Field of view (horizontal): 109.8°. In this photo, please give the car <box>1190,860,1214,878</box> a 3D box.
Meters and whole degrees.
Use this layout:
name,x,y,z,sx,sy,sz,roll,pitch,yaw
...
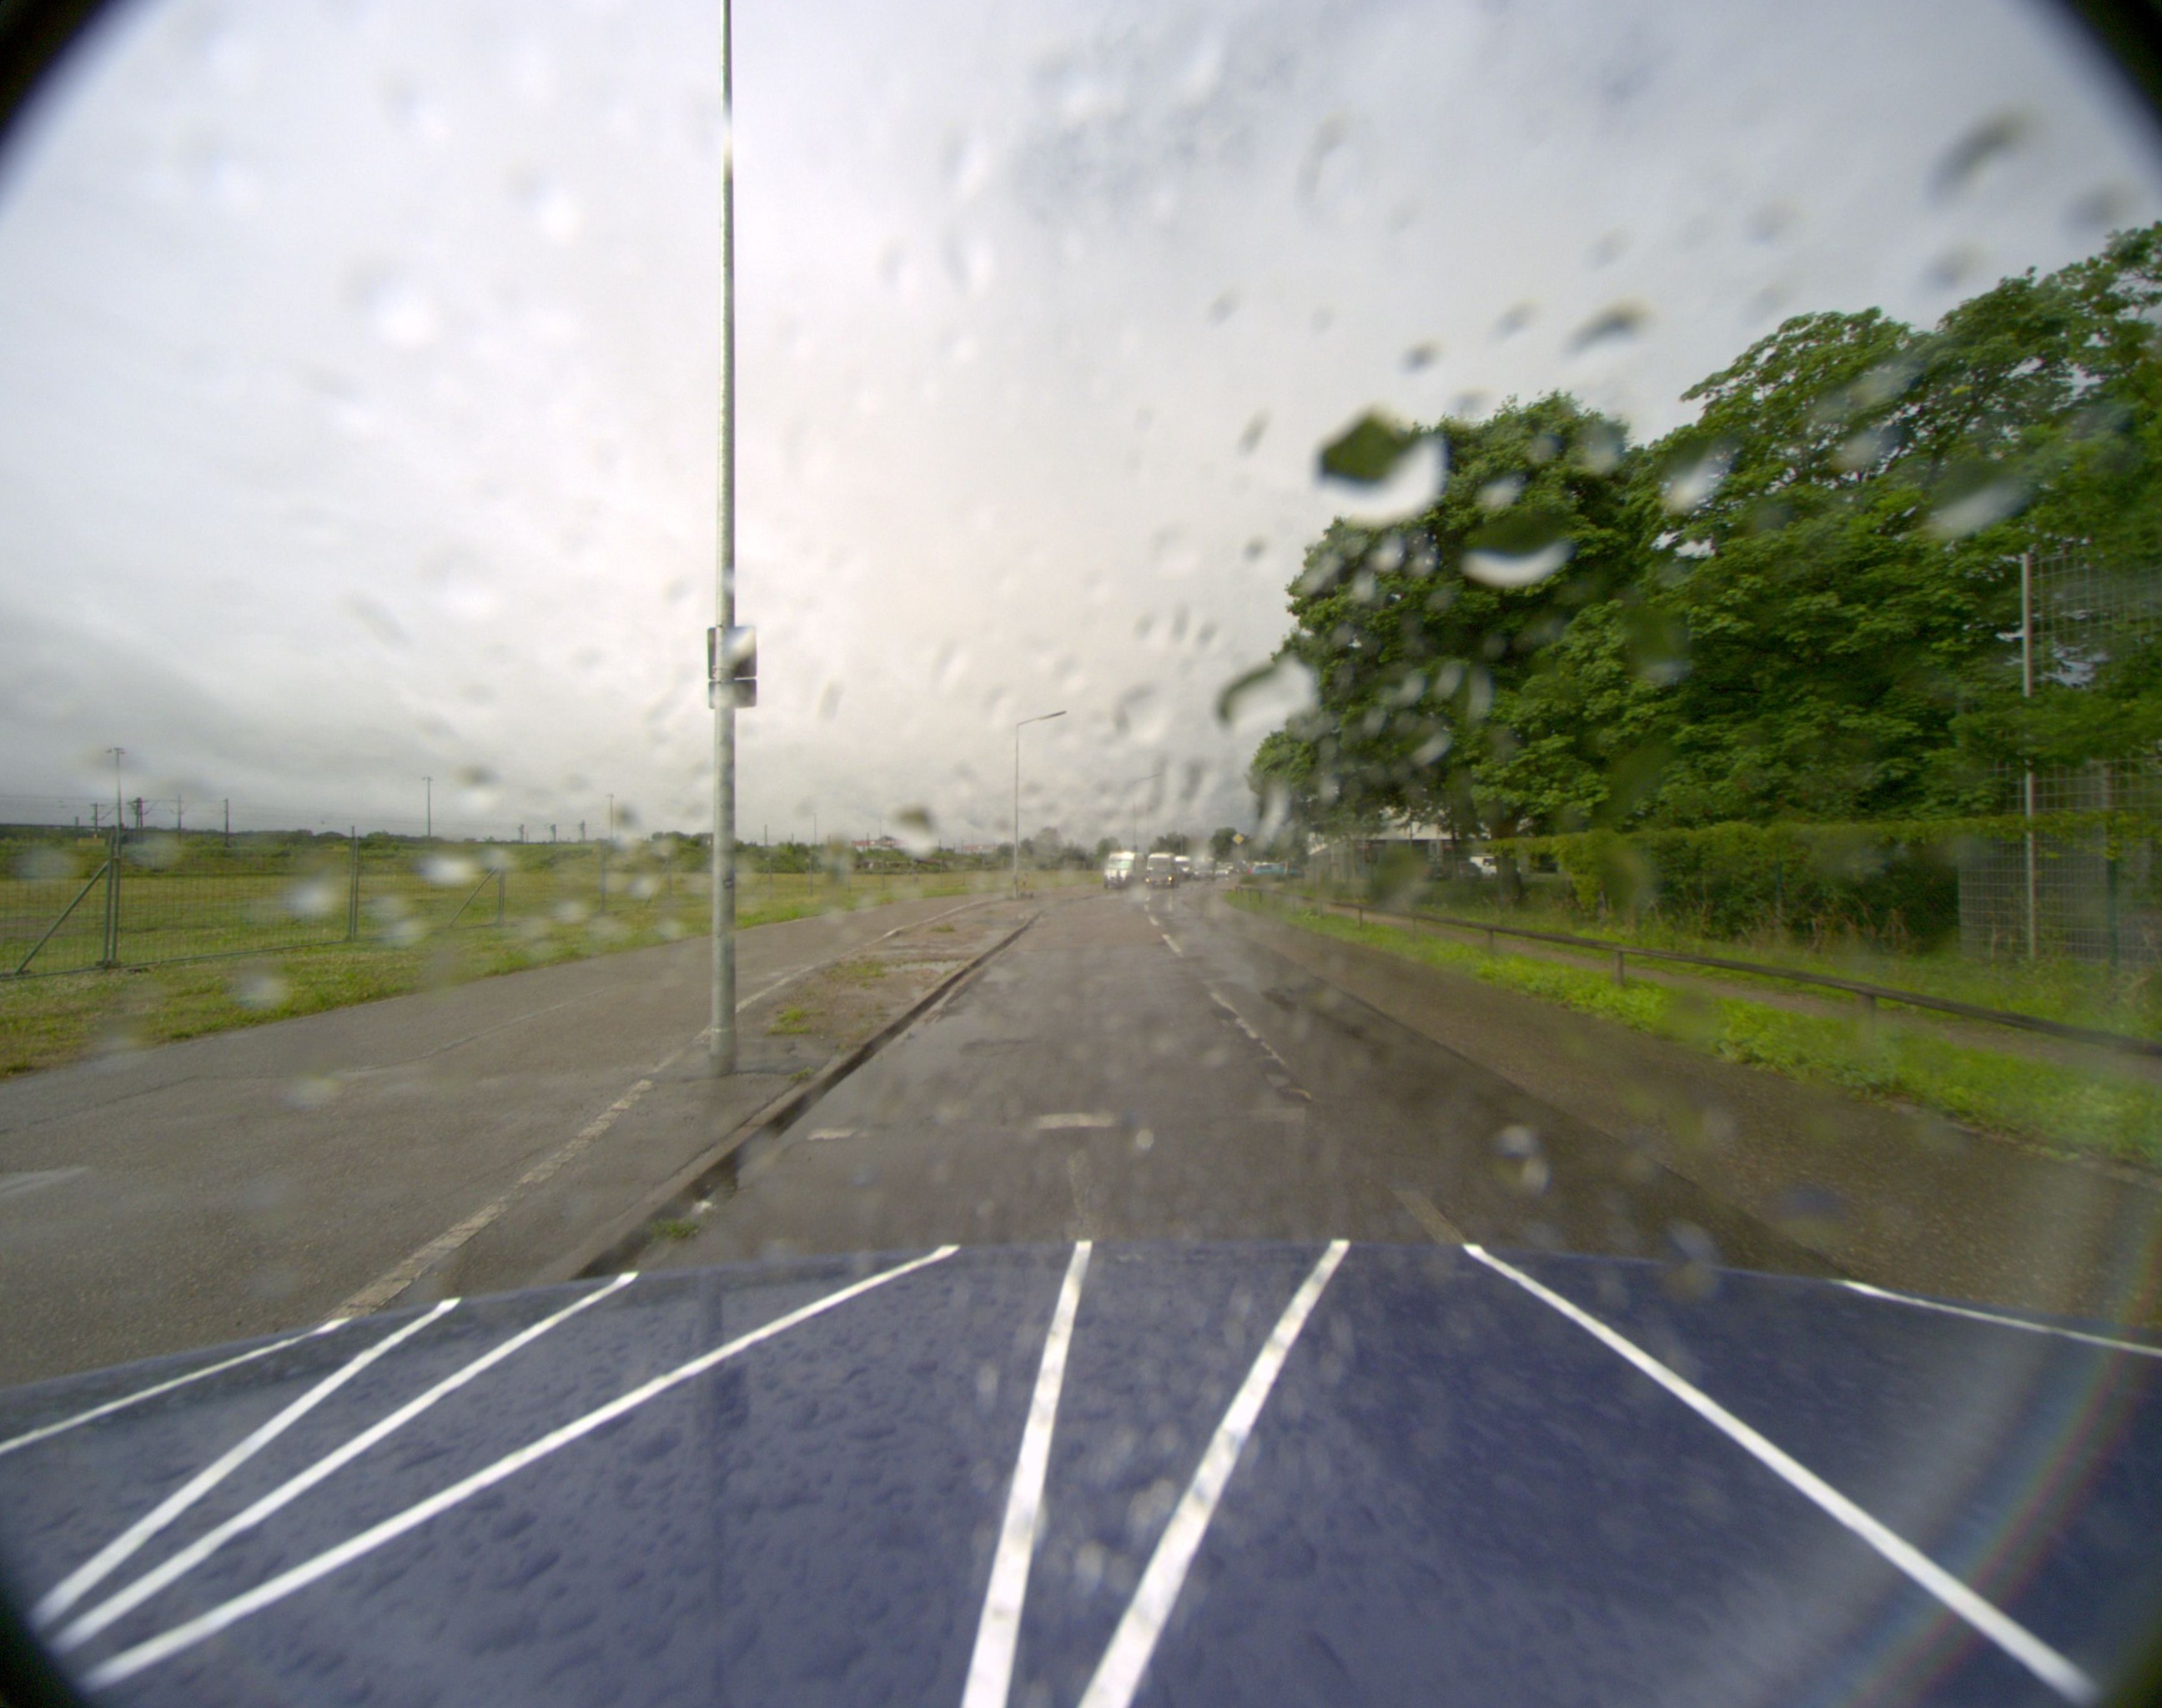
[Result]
name,x,y,z,sx,sy,sz,roll,pitch,yaw
car,12.375,1.527,77.525,2.008,1.695,4.334,-2,-1,15

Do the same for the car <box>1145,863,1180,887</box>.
name,x,y,z,sx,sy,sz,roll,pitch,yaw
car,5.530,1.399,50.847,1.872,1.510,4.362,0,0,12

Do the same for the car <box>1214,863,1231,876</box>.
name,x,y,z,sx,sy,sz,roll,pitch,yaw
car,18.272,2.004,97.969,1.839,1.510,4.362,-1,0,15

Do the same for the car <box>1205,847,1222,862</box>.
name,x,y,z,sx,sy,sz,roll,pitch,yaw
car,19.861,0.089,113.552,1.996,2.228,4.569,-1,0,15

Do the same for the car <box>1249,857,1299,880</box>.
name,x,y,z,sx,sy,sz,roll,pitch,yaw
car,15.935,1.173,62.595,3.815,1.623,1.757,-4,-1,17

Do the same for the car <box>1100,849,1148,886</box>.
name,x,y,z,sx,sy,sz,roll,pitch,yaw
car,3.099,0.896,53.353,2.094,2.458,5.954,1,0,15

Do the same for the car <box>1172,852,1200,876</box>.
name,x,y,z,sx,sy,sz,roll,pitch,yaw
car,11.927,1.115,85.847,2.071,2.514,6.666,1,0,17

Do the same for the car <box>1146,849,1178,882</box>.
name,x,y,z,sx,sy,sz,roll,pitch,yaw
car,7.566,1.034,70.172,2.147,2.867,5.282,2,1,14

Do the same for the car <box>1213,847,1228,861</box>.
name,x,y,z,sx,sy,sz,roll,pitch,yaw
car,22.845,0.073,124.509,1.996,2.228,4.569,-1,0,15

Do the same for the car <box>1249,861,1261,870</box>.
name,x,y,z,sx,sy,sz,roll,pitch,yaw
car,27.855,1.821,121.619,1.659,1.459,3.394,-1,0,18

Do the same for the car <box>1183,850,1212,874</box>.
name,x,y,z,sx,sy,sz,roll,pitch,yaw
car,14.836,1.032,96.249,2.473,2.938,6.896,1,0,18

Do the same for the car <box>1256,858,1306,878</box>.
name,x,y,z,sx,sy,sz,roll,pitch,yaw
car,17.678,1.223,67.336,4.179,1.540,1.862,-4,-1,14

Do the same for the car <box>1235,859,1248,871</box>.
name,x,y,z,sx,sy,sz,roll,pitch,yaw
car,28.789,1.918,135.883,1.997,2.001,4.004,-4,-1,14

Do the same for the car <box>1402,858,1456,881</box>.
name,x,y,z,sx,sy,sz,roll,pitch,yaw
car,24.059,1.050,52.629,1.642,1.388,4.187,-3,0,-2

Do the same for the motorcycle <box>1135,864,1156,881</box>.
name,x,y,z,sx,sy,sz,roll,pitch,yaw
motorcycle,5.240,1.479,61.444,1.646,1.366,0.722,1,0,6

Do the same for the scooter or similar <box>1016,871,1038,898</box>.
name,x,y,z,sx,sy,sz,roll,pitch,yaw
scooter or similar,-2.582,1.450,36.364,0.491,1.207,1.342,-1,0,24

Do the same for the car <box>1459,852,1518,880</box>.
name,x,y,z,sx,sy,sz,roll,pitch,yaw
car,28.691,0.774,53.669,1.642,1.824,4.348,-3,0,-2

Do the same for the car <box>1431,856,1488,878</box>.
name,x,y,z,sx,sy,sz,roll,pitch,yaw
car,26.064,0.876,52.426,1.687,1.388,4.128,-3,0,-2

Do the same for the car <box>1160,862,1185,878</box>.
name,x,y,z,sx,sy,sz,roll,pitch,yaw
car,9.340,1.630,77.540,1.732,1.485,4.447,1,0,17
